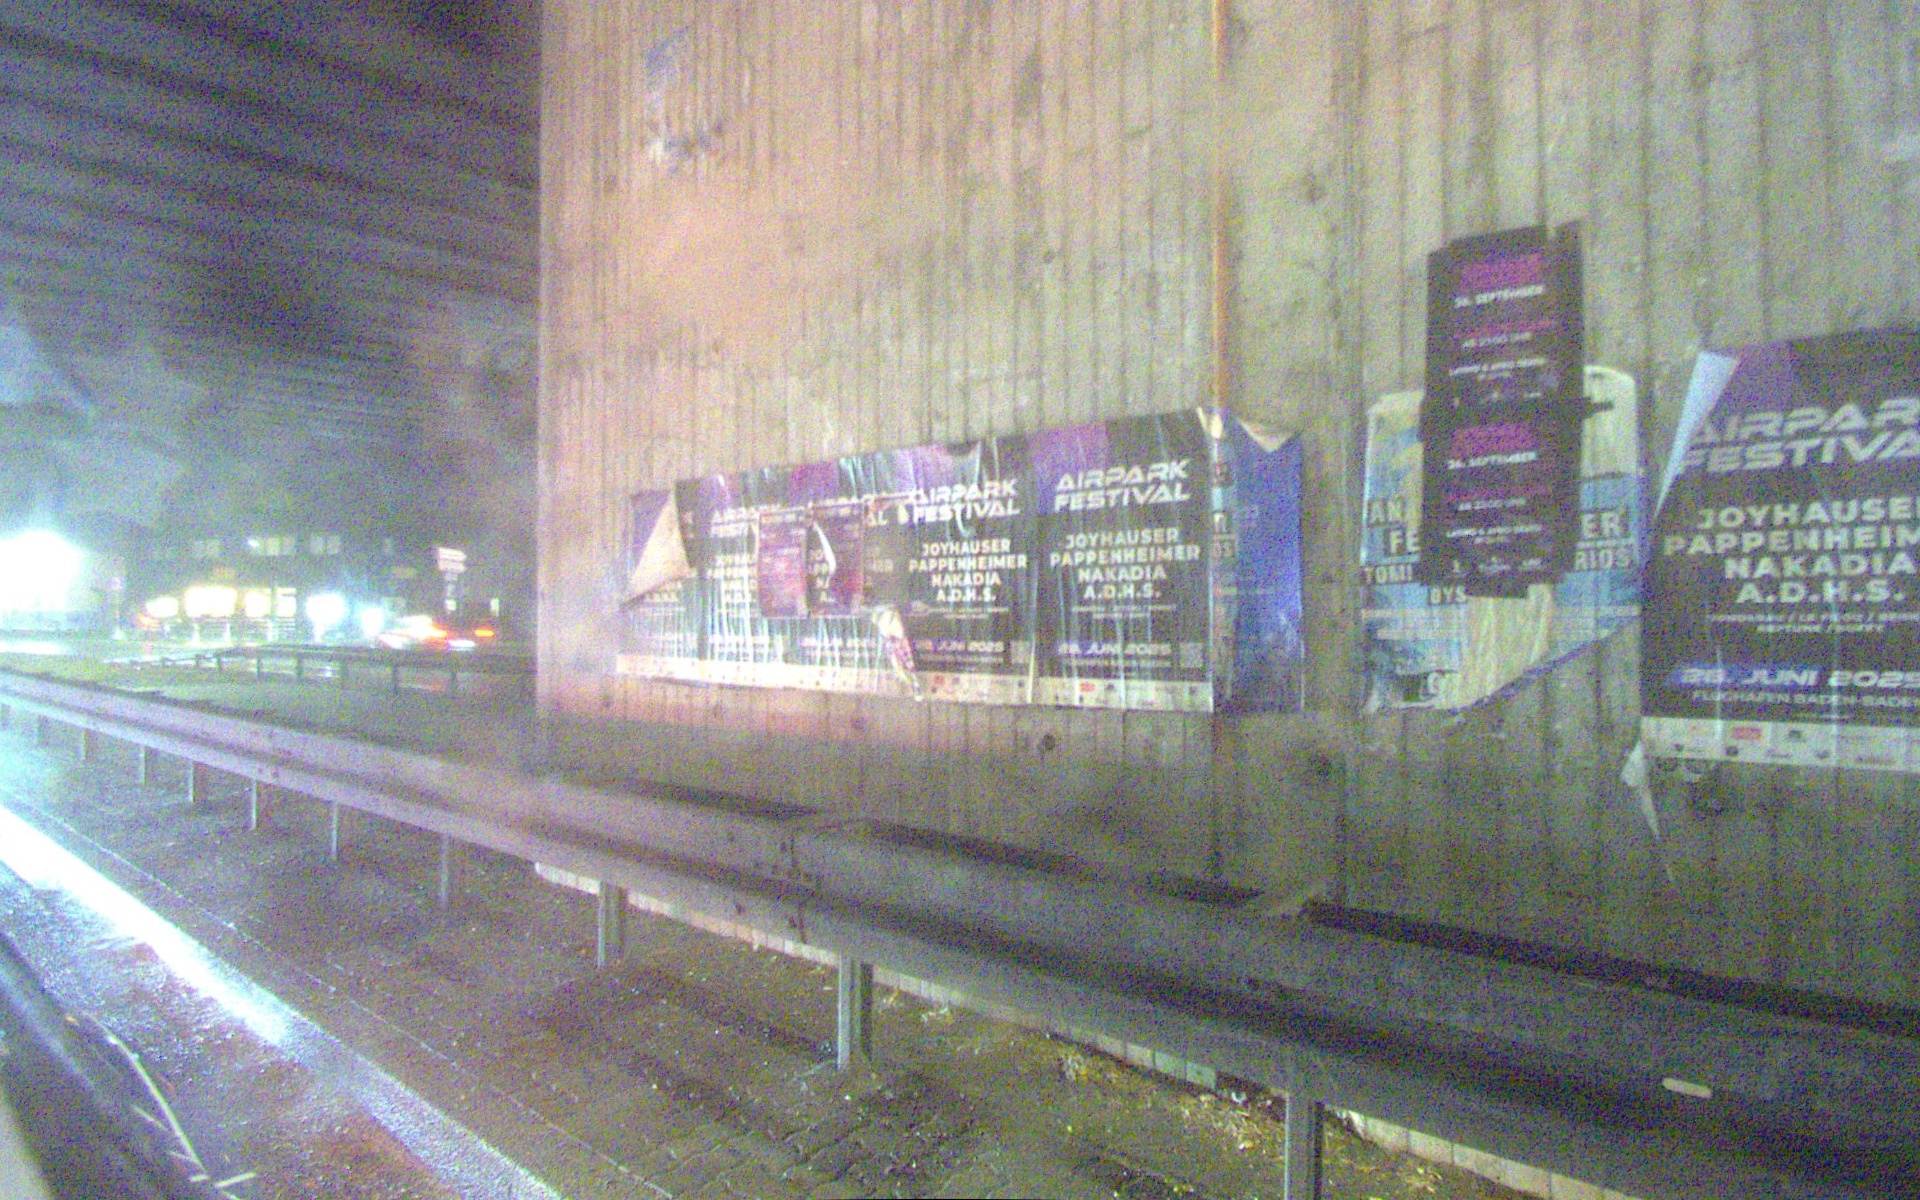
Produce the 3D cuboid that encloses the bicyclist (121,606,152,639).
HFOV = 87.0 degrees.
[{"bbox_3d":[-36.789,0.993,45.215,1.182,1.446,0.624,0,-2,27],"label":"bicyclist"}]

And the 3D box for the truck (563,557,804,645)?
[{"bbox_3d":[-15.254,0.076,57.384,13.480,4.474,2.746,0,-1,-43],"label":"truck"}]

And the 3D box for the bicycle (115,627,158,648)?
[{"bbox_3d":[-36.768,1.666,45.188,2.202,0.912,0.623,0,-2,27],"label":"bicycle"}]

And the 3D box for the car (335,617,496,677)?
[{"bbox_3d":[-15.038,1.250,27.899,4.486,1.498,2.018,0,-2,34],"label":"car"}]
